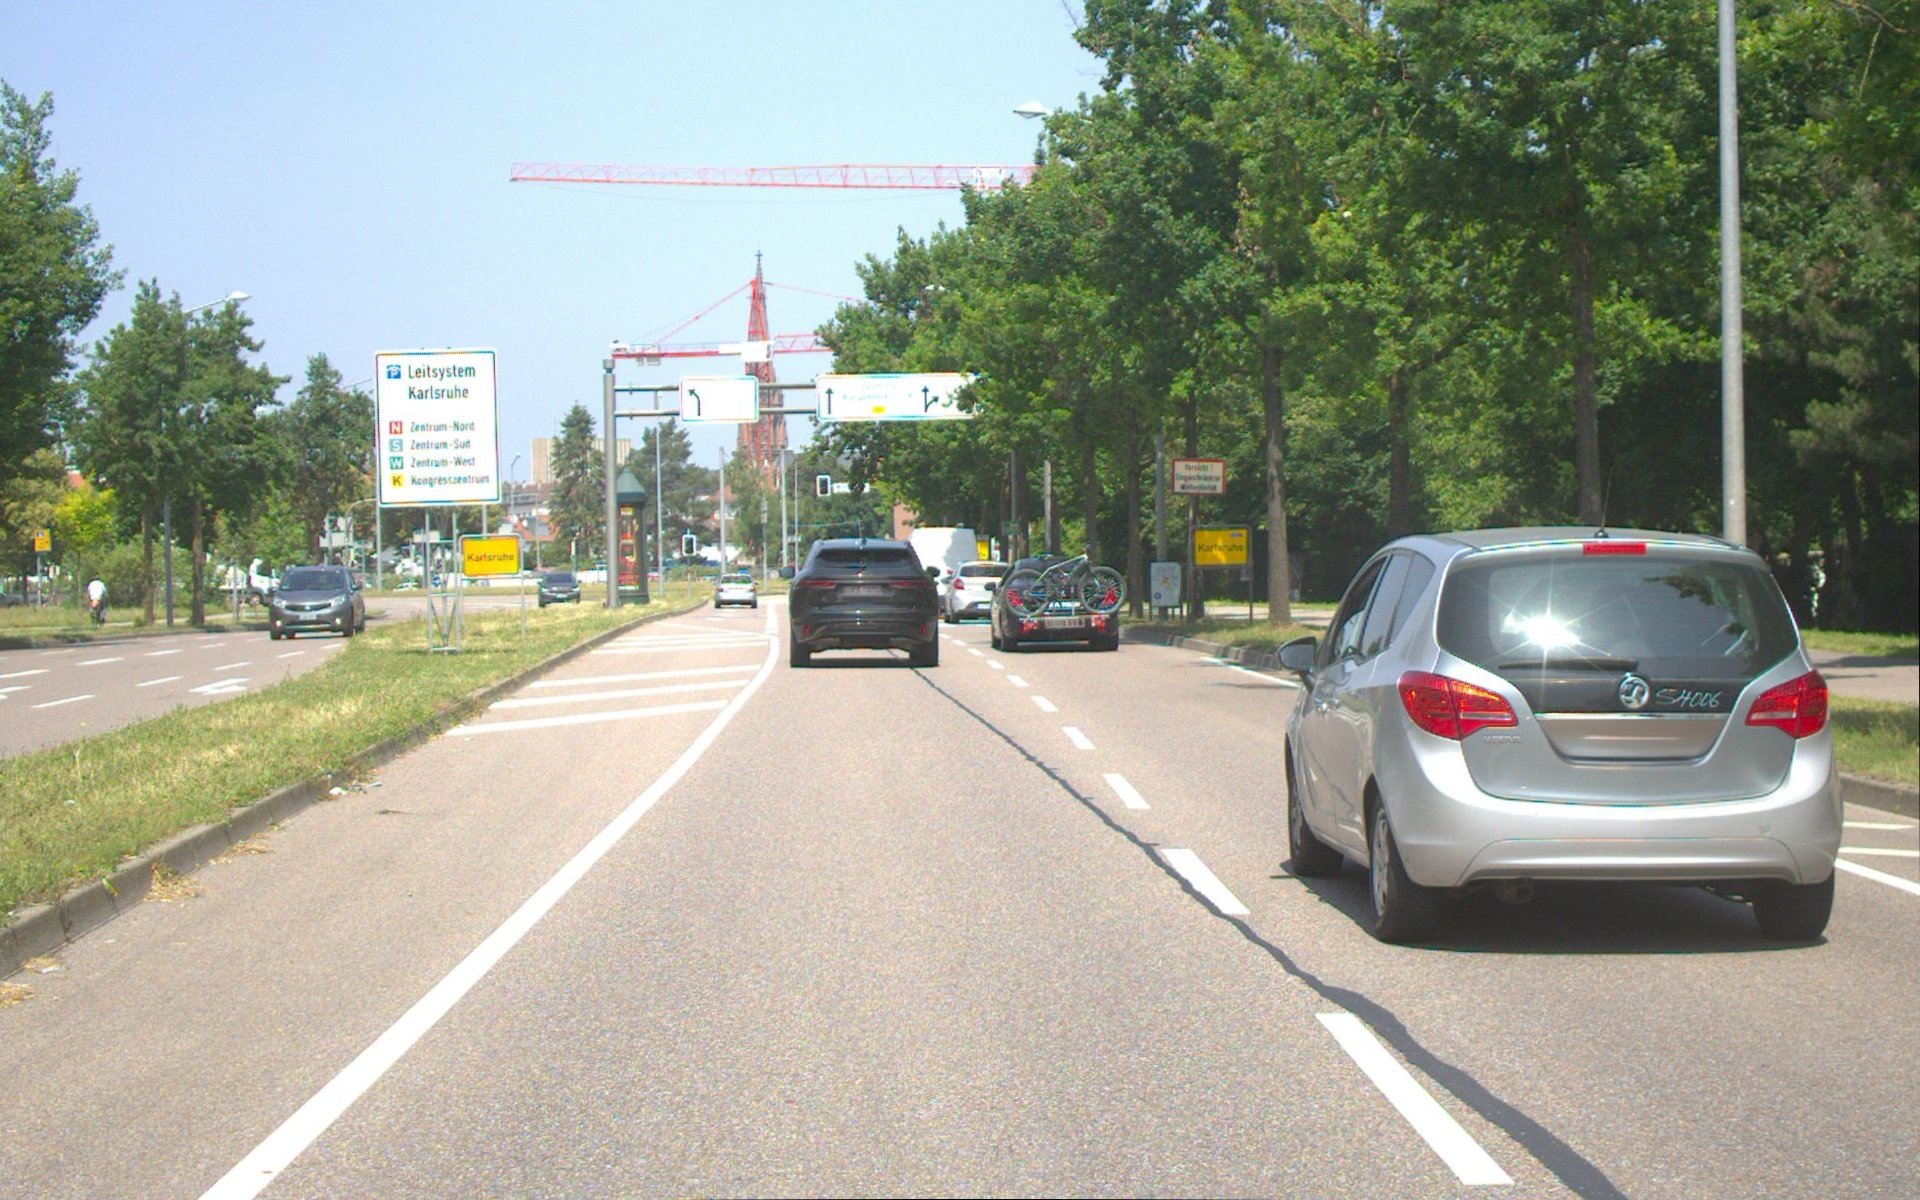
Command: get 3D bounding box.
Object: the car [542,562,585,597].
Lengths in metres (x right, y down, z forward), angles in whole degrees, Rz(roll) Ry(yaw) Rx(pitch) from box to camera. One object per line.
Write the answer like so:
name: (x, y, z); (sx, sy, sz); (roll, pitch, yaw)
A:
car: (-18.783, -0.976, 162.908); (1.892, 1.605, 4.535); (-1, 1, -5)

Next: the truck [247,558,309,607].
truck: (-36.691, -0.952, 185.081); (2.638, 2.568, 6.319); (0, 0, -5)

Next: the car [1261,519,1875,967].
car: (2.356, 0.482, 14.298); (1.792, 1.606, 3.891); (0, 1, -1)

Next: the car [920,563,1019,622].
car: (0.199, -0.195, 82.143); (1.654, 1.351, 4.462); (-1, 1, -9)

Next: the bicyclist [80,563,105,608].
bicyclist: (-29.115, -0.478, 115.376); (0.623, 1.484, 0.757); (-1, 0, 0)

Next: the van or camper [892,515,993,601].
van or camper: (-0.525, -1.156, 95.574); (2.493, 2.283, 4.921); (-1, 1, -3)

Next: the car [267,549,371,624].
car: (-13.413, -0.301, 72.106); (1.707, 1.467, 3.942); (-2, 1, -5)

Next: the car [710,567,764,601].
car: (-9.338, -0.669, 143.645); (1.993, 1.316, 4.001); (-1, 1, -7)

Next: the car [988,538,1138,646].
car: (1.503, -0.136, 51.786); (2.014, 1.512, 4.461); (-1, 1, -1)

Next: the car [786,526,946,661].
car: (-1.237, -0.116, 45.198); (1.998, 1.684, 4.034); (0, 1, -2)

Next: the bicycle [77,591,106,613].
bicycle: (-29.106, 0.060, 115.199); (0.481, 0.713, 1.850); (-1, 0, 0)
